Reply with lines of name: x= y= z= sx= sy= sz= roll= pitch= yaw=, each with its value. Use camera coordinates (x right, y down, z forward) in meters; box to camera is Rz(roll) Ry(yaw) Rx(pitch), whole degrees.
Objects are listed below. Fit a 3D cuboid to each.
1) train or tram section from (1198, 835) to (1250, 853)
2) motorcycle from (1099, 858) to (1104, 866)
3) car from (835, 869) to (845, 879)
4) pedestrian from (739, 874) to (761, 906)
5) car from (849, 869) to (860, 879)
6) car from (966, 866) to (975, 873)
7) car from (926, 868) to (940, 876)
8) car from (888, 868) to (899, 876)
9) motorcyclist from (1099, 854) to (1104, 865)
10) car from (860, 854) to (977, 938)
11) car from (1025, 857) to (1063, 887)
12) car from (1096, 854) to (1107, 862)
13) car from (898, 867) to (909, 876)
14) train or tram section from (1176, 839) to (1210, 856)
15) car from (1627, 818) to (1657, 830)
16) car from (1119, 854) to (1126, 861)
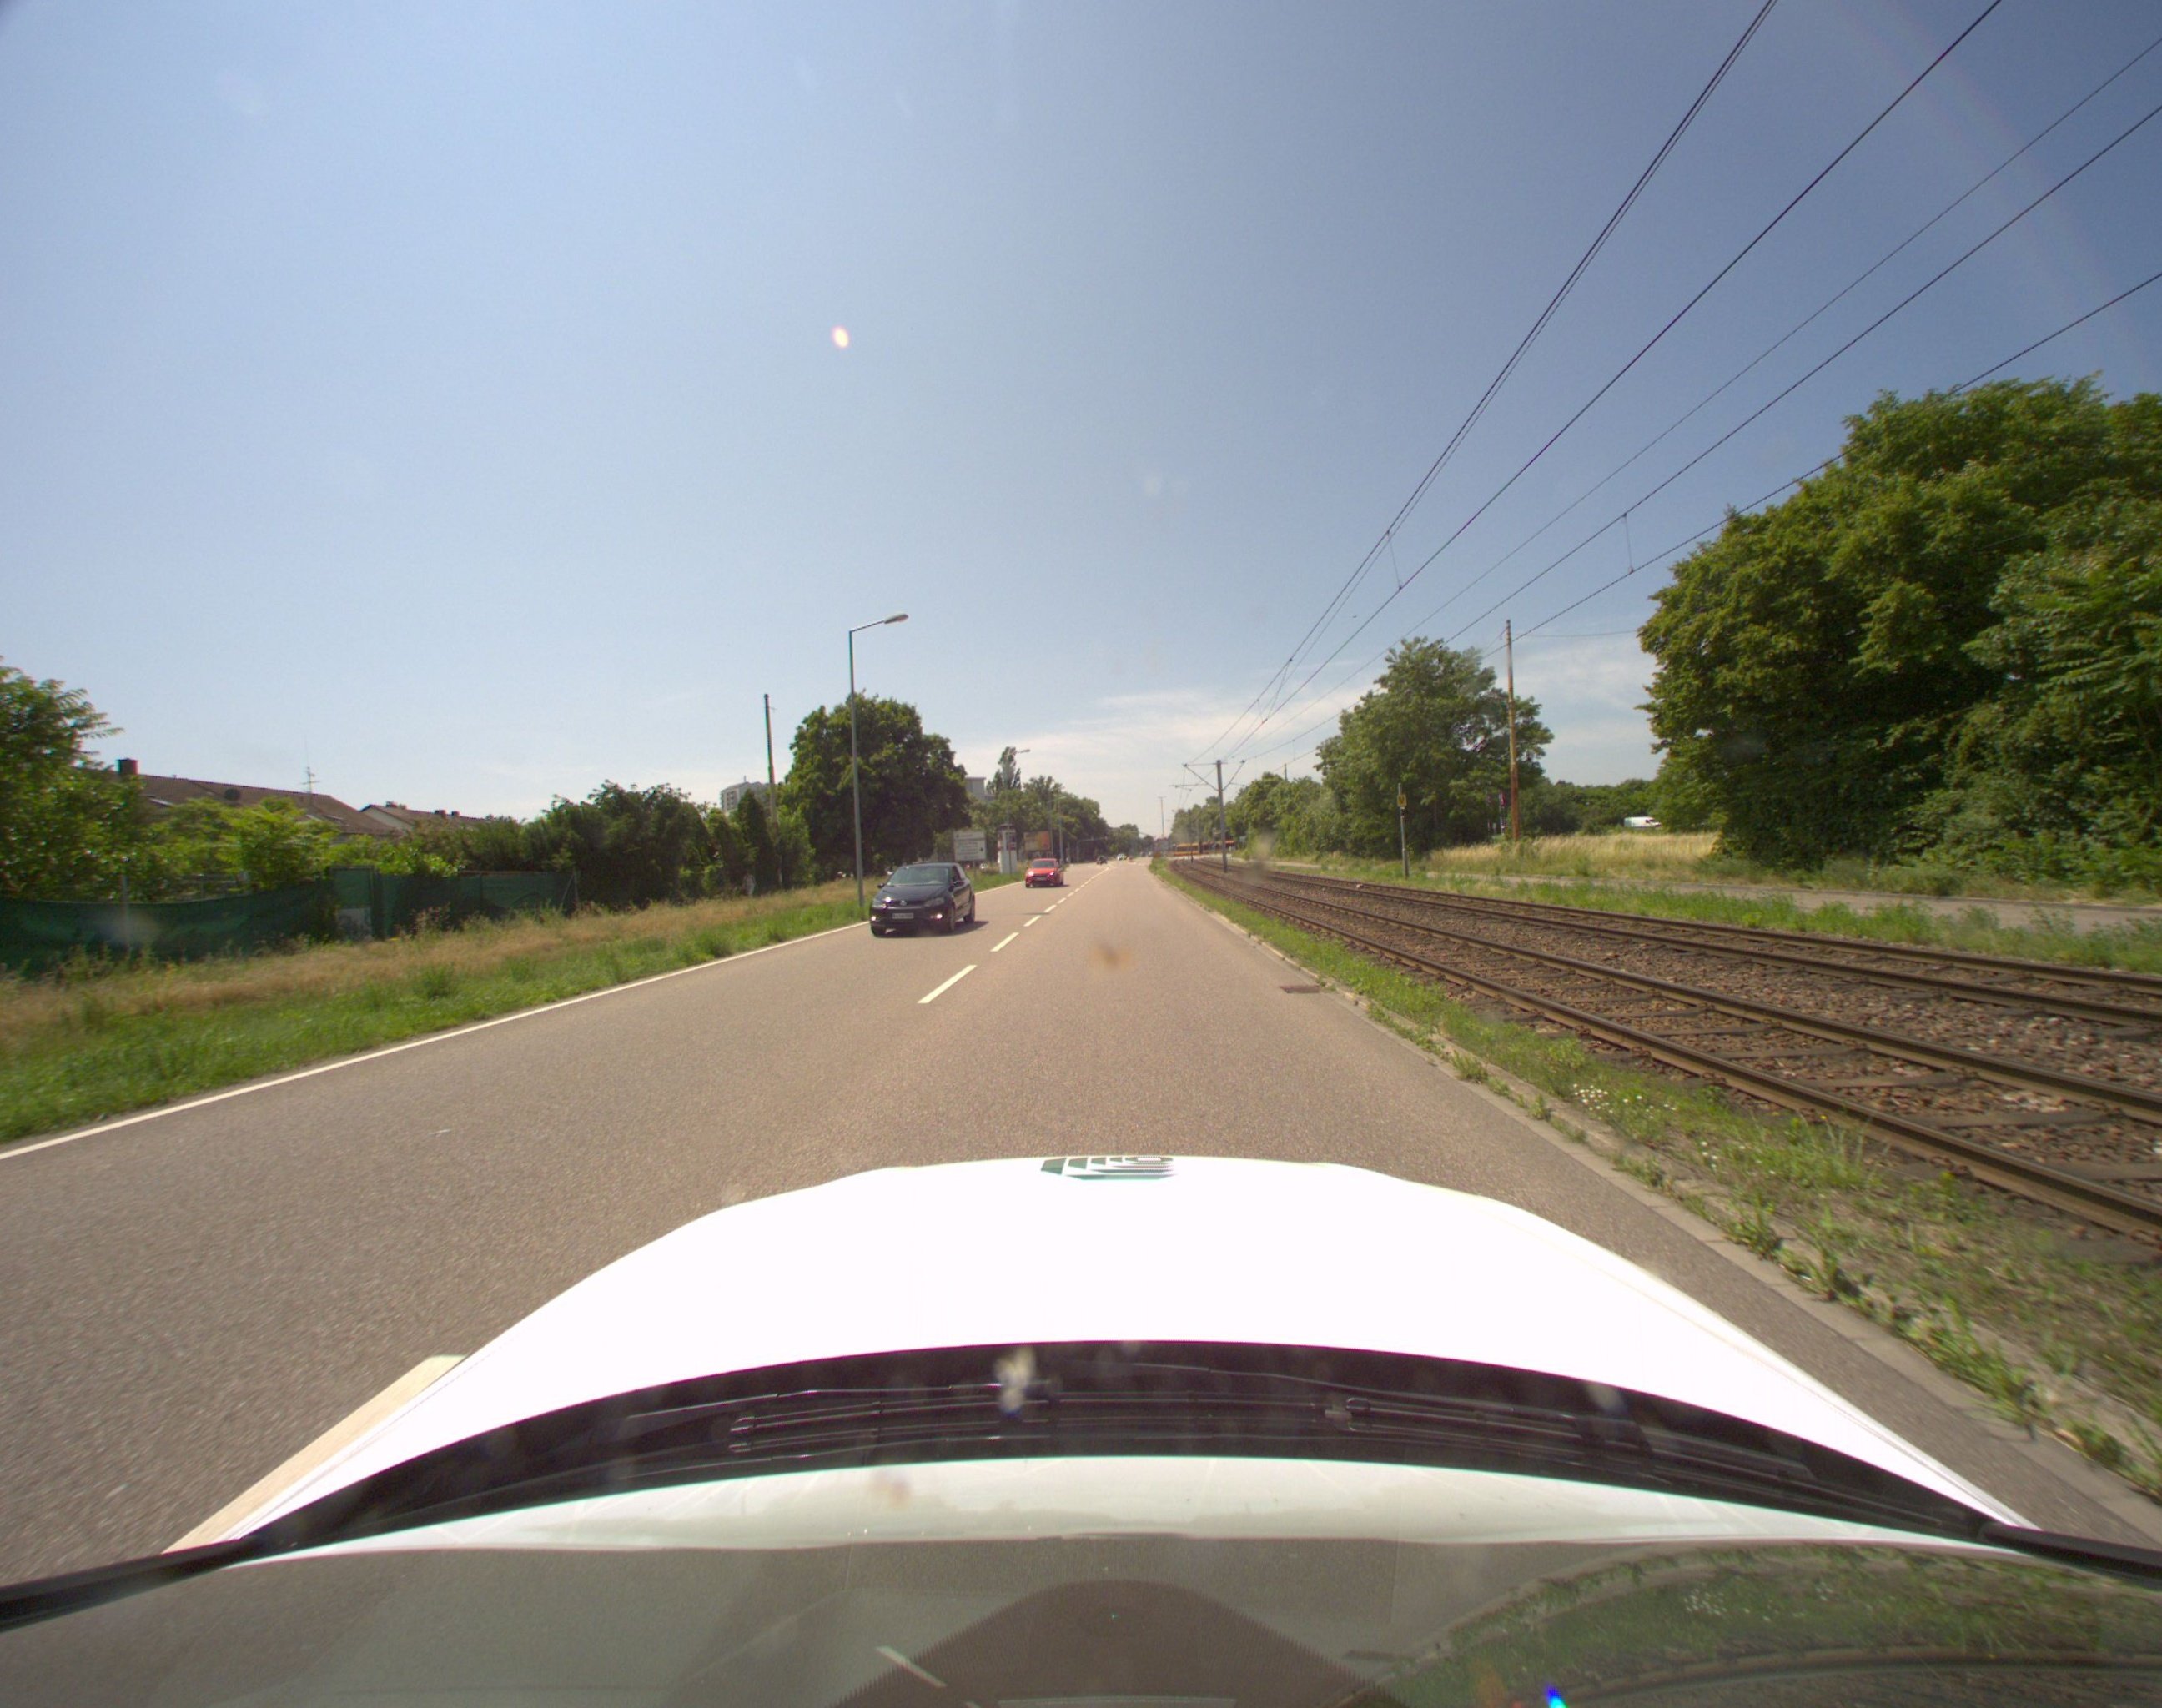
train or tram section: x=38.477 y=-2.586 z=219.334 sx=13.782 sy=3.919 sz=2.942 roll=-4 pitch=-4 yaw=36
motorcycle: x=3.350 y=1.226 z=132.735 sx=0.843 sy=1.255 sz=2.451 roll=-2 pitch=0 yaw=3
car: x=-49.128 y=4.105 z=166.211 sx=1.851 sy=1.947 sz=3.975 roll=-2 pitch=0 yaw=-18
pedestrian: x=-14.799 y=1.613 z=36.413 sx=0.578 sy=1.355 sz=0.799 roll=-2 pitch=0 yaw=4
car: x=-46.335 y=3.994 z=166.586 sx=1.851 sy=1.947 sz=3.975 roll=-2 pitch=0 yaw=-18
car: x=-23.705 y=3.260 z=174.684 sx=1.619 sy=1.464 sz=3.984 roll=-2 pitch=0 yaw=-11
car: x=-31.331 y=3.802 z=172.541 sx=1.856 sy=1.668 sz=3.966 roll=-3 pitch=-1 yaw=-26
car: x=-39.131 y=3.658 z=169.893 sx=1.693 sy=1.562 sz=3.815 roll=-3 pitch=0 yaw=-17
motorcyclist: x=3.334 y=0.907 z=132.704 sx=0.787 sy=1.643 sz=1.212 roll=-2 pitch=0 yaw=3
car: x=-3.420 y=0.817 z=17.866 sx=1.679 sy=1.570 sz=3.967 roll=-2 pitch=0 yaw=0
car: x=-1.880 y=0.894 z=42.294 sx=1.674 sy=1.399 sz=4.000 roll=-2 pitch=0 yaw=0
car: x=3.800 y=0.732 z=149.273 sx=1.899 sy=1.499 sz=4.633 roll=-2 pitch=0 yaw=3
car: x=-37.243 y=3.698 z=171.065 sx=1.851 sy=1.711 sz=3.976 roll=-2 pitch=1 yaw=-18
train or tram section: x=31.265 y=-1.843 z=228.833 sx=2.925 sy=3.919 sz=13.938 roll=-1 pitch=-3 yaw=-21
car: x=111.144 y=-5.917 z=161.376 sx=2.064 sy=2.014 sz=4.715 roll=0 pitch=-1 yaw=-17
car: x=10.557 y=0.932 z=206.881 sx=1.776 sy=1.628 sz=3.870 roll=-3 pitch=0 yaw=5
